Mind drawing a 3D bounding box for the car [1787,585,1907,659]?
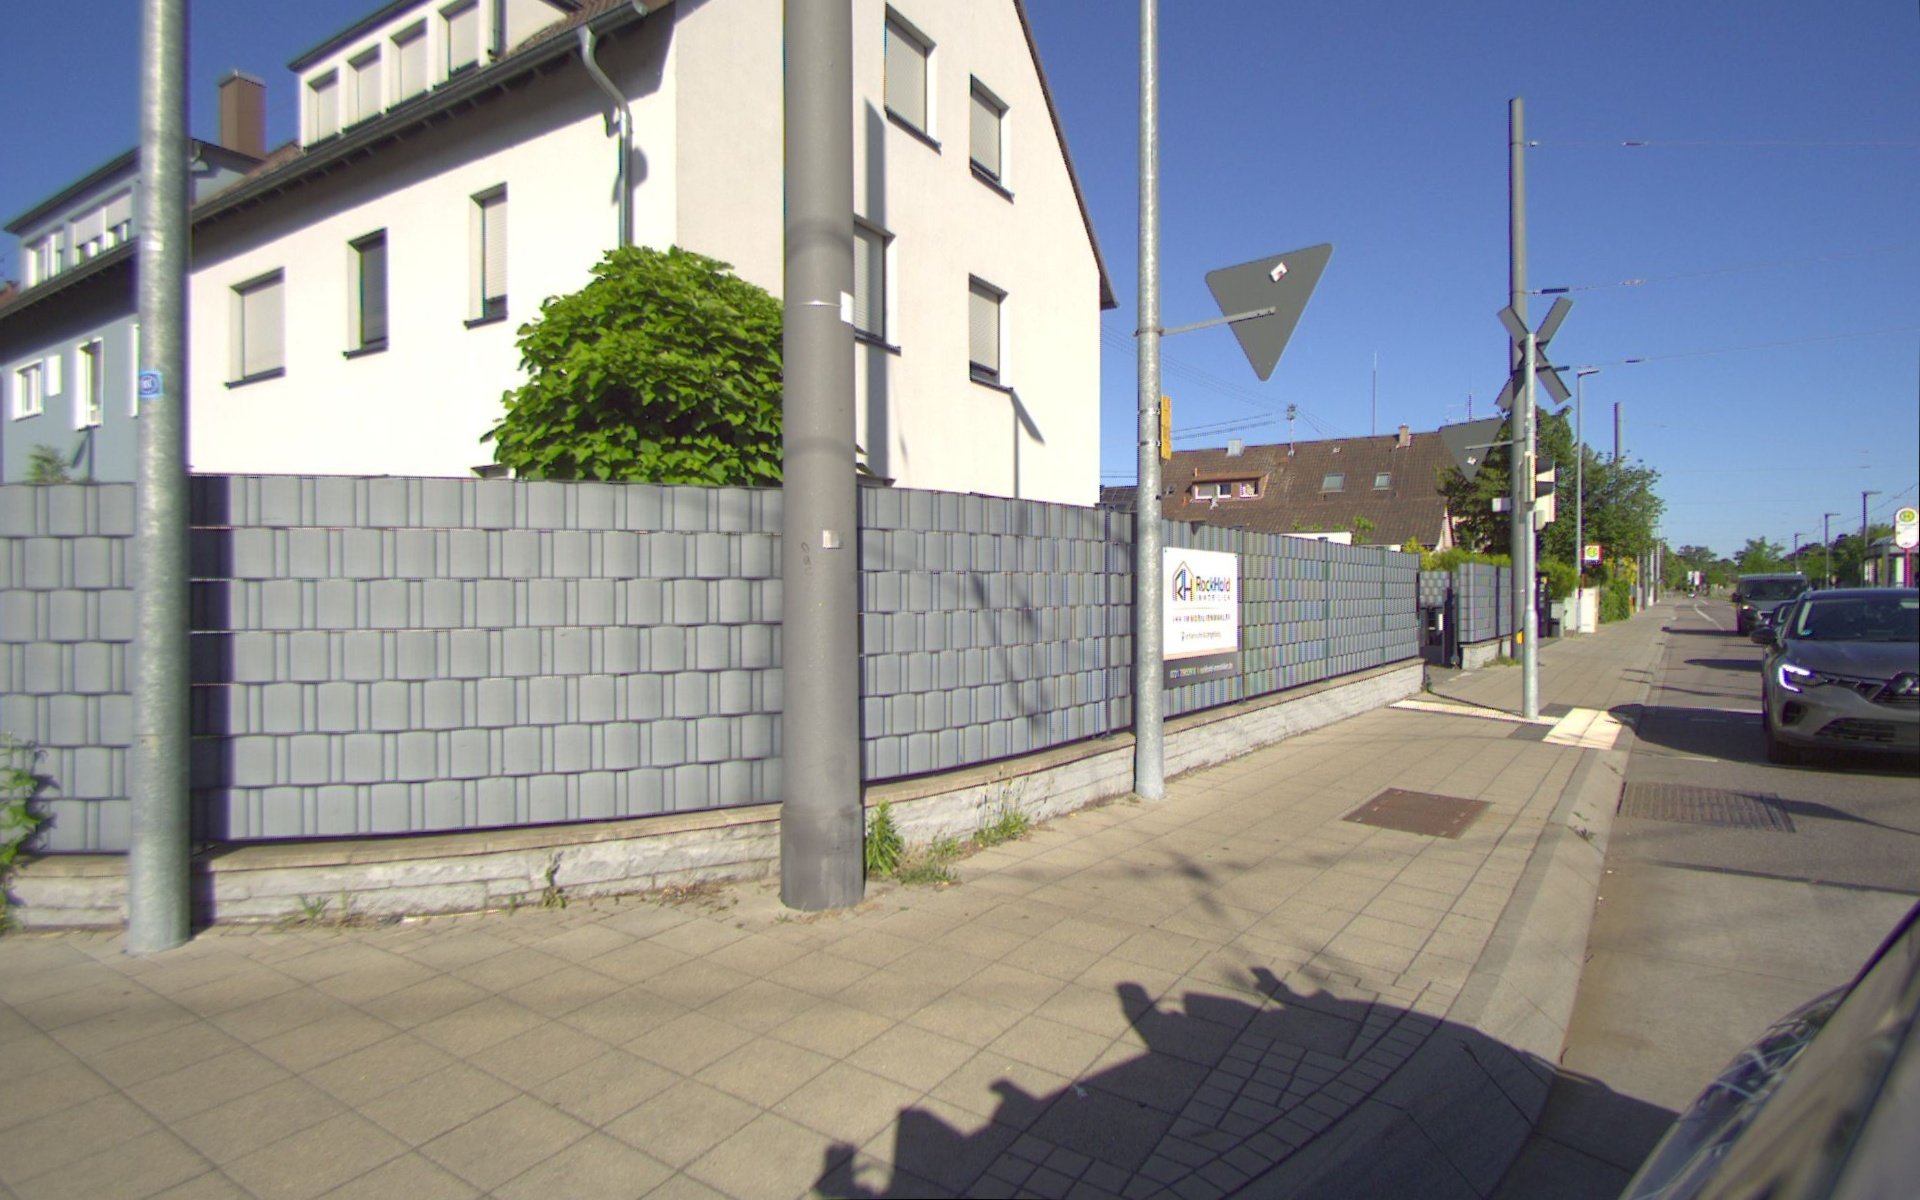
[{"bbox_3d":[18.598,0.415,21.360,1.680,1.405,3.944,-1,-1,39],"label":"car"}]

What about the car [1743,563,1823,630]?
[{"bbox_3d":[29.735,-0.116,36.625,2.080,2.268,4.656,-1,-1,39],"label":"car"}]

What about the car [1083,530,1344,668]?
[{"bbox_3d":[4.981,-0.069,20.588,1.964,2.462,4.988,-2,2,-38],"label":"car"}]

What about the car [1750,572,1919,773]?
[{"bbox_3d":[8.811,0.567,9.652,1.819,1.599,3.948,-1,-1,36],"label":"car"}]
